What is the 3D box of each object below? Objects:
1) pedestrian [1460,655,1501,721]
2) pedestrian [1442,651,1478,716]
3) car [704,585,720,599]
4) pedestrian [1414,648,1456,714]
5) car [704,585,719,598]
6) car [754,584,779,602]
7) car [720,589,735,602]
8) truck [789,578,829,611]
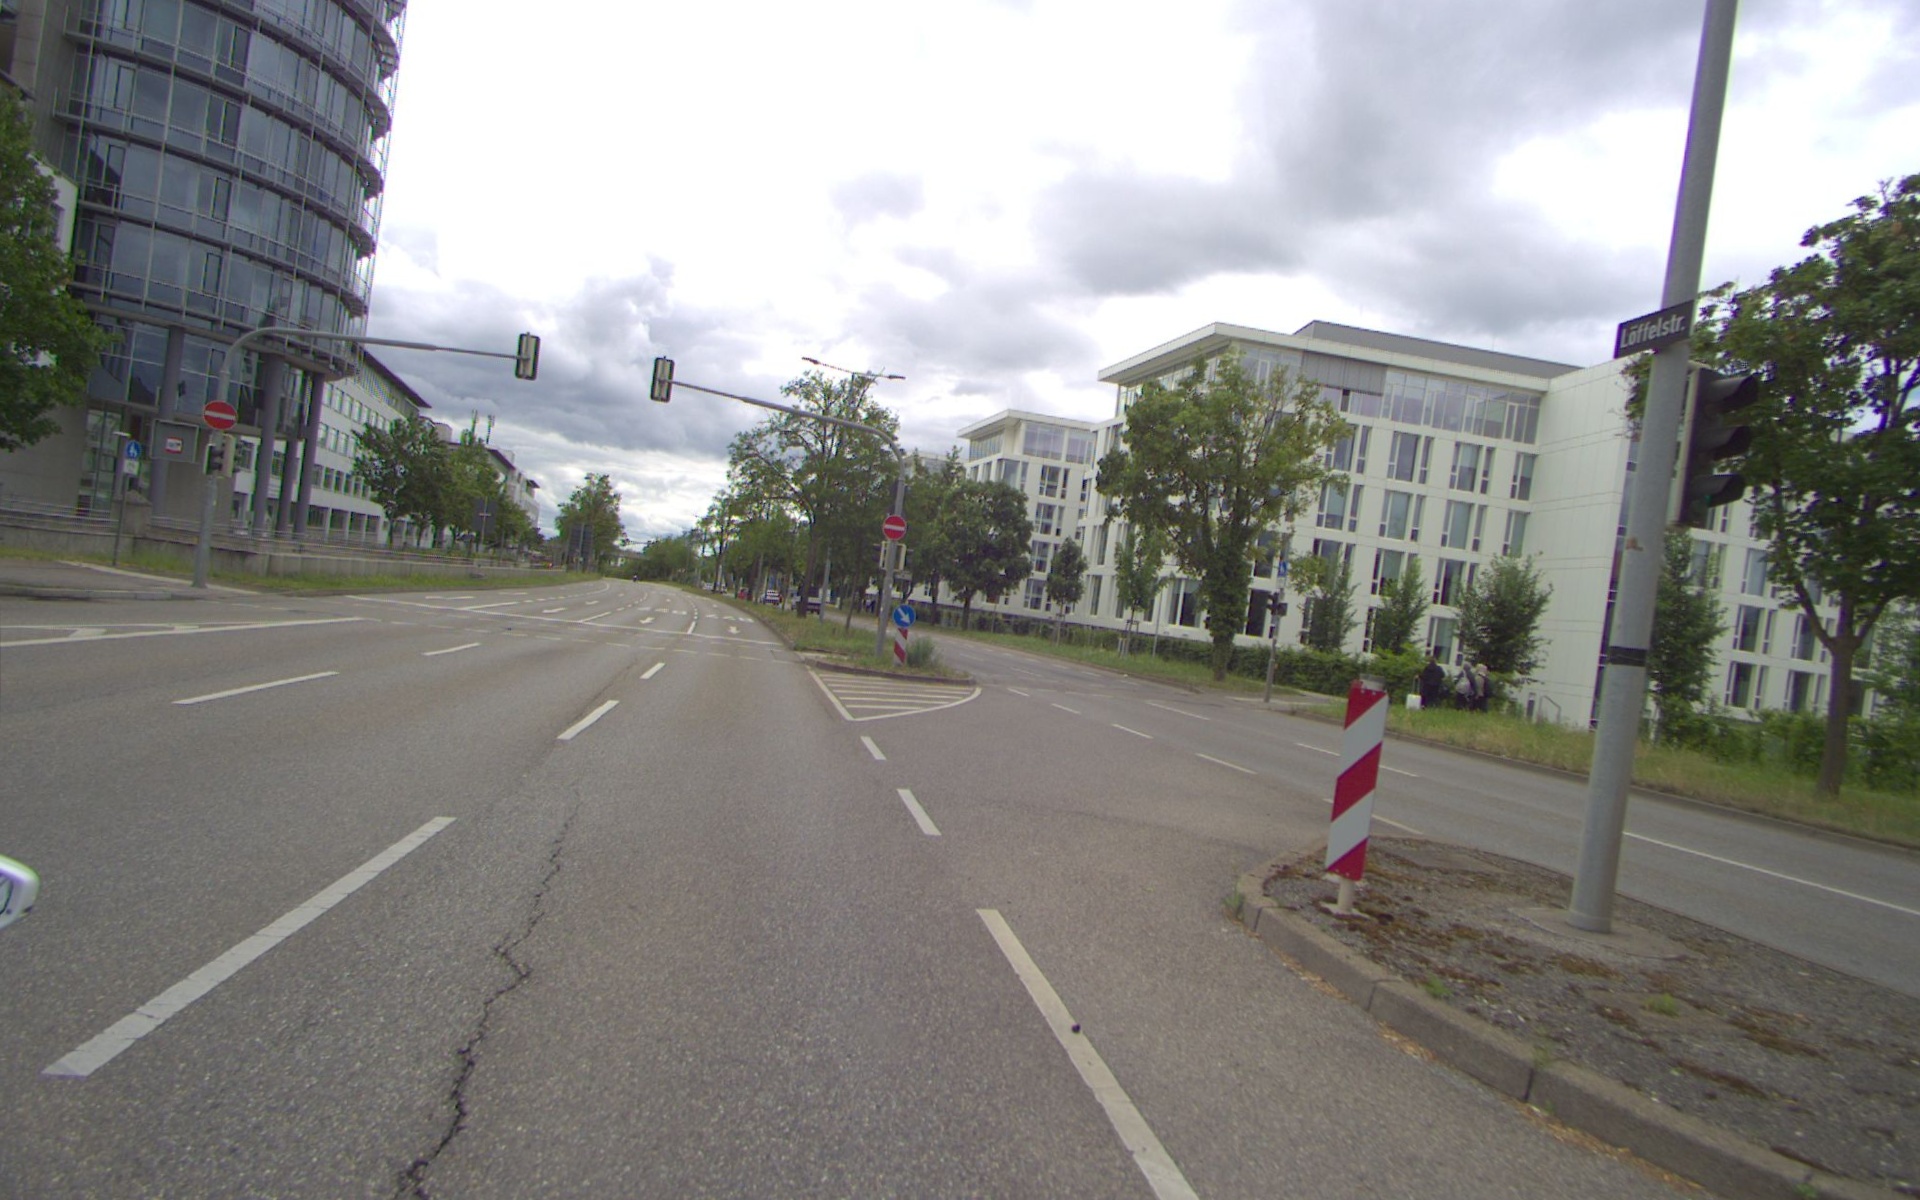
[{"bbox_3d":[14.040,2.370,27.141,0.679,1.644,0.659,6,-2,41],"label":"pedestrian"},{"bbox_3d":[13.391,2.226,26.934,0.555,1.644,0.709,7,-2,16],"label":"pedestrian"},{"bbox_3d":[-36.305,-1.191,147.426,1.970,1.669,3.990,9,-3,-15],"label":"car"},{"bbox_3d":[12.781,2.189,27.081,0.720,1.644,1.036,7,-2,18],"label":"pedestrian"},{"bbox_3d":[-39.780,-1.313,161.086,1.970,1.669,3.990,9,-3,-16],"label":"car"},{"bbox_3d":[-20.821,-0.755,108.010,1.851,1.692,3.870,9,-3,-20],"label":"car"},{"bbox_3d":[-40.157,-0.824,173.597,1.972,1.887,3.987,9,-3,-18],"label":"car"},{"bbox_3d":[-13.090,-0.423,86.731,2.526,2.403,4.576,9,-3,-16],"label":"truck"}]
